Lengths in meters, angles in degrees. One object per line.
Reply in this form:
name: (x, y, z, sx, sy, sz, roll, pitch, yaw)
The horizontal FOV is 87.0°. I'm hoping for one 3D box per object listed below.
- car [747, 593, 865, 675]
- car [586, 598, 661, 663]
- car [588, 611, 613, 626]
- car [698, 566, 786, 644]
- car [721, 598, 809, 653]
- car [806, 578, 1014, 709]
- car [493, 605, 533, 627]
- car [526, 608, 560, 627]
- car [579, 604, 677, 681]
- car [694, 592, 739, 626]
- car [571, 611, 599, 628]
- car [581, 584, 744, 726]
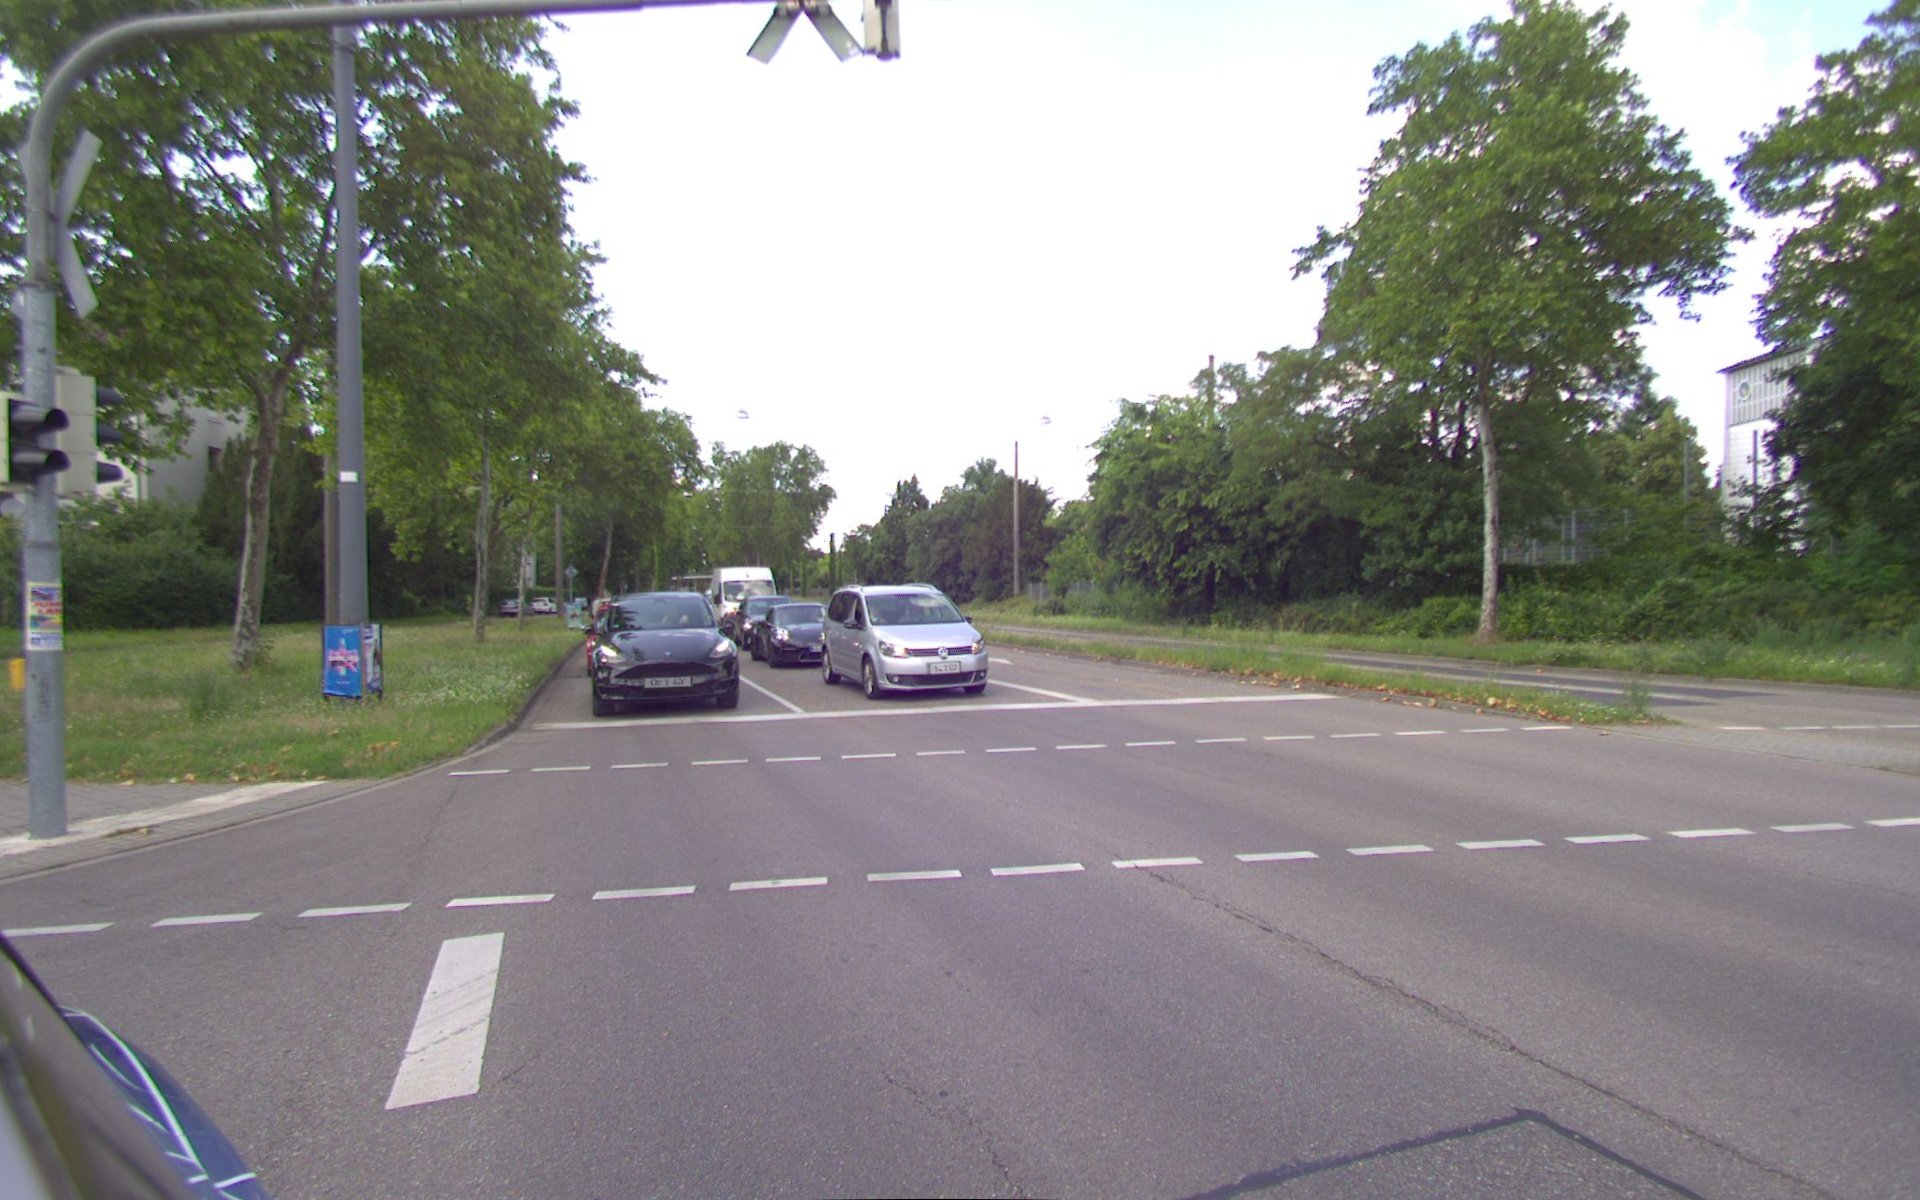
car: (-3.433, 0.662, 21.959, 1.774, 1.519, 4.013, -3, 1, -19)
car: (-9.493, 0.784, 28.346, 1.771, 1.581, 4.517, -3, 1, -20)
car: (-39.782, 2.083, 112.037, 1.750, 1.608, 3.660, -1, -2, -4)
car: (-8.084, 0.142, 37.062, 2.189, 2.549, 5.953, -2, 1, -21)
car: (-5.663, 0.665, 29.037, 1.734, 1.385, 4.358, -3, 1, -20)
car: (-0.962, 0.560, 15.776, 1.898, 1.664, 4.517, -3, 1, -20)
car: (-35.256, 1.273, 79.944, 1.750, 1.608, 3.660, -1, -2, -4)
car: (-36.636, 1.562, 89.002, 1.750, 1.608, 3.660, -1, -2, -4)
car: (-7.317, 0.835, 22.042, 1.771, 1.401, 4.517, -3, 1, -20)
car: (-12.635, 0.438, 52.392, 1.734, 1.659, 4.358, -1, 0, -21)
car: (-38.588, 2.039, 104.215, 1.750, 1.608, 3.660, -1, -2, -4)
car: (-4.446, 0.667, 14.854, 1.899, 1.664, 4.594, -2, 1, -19)
